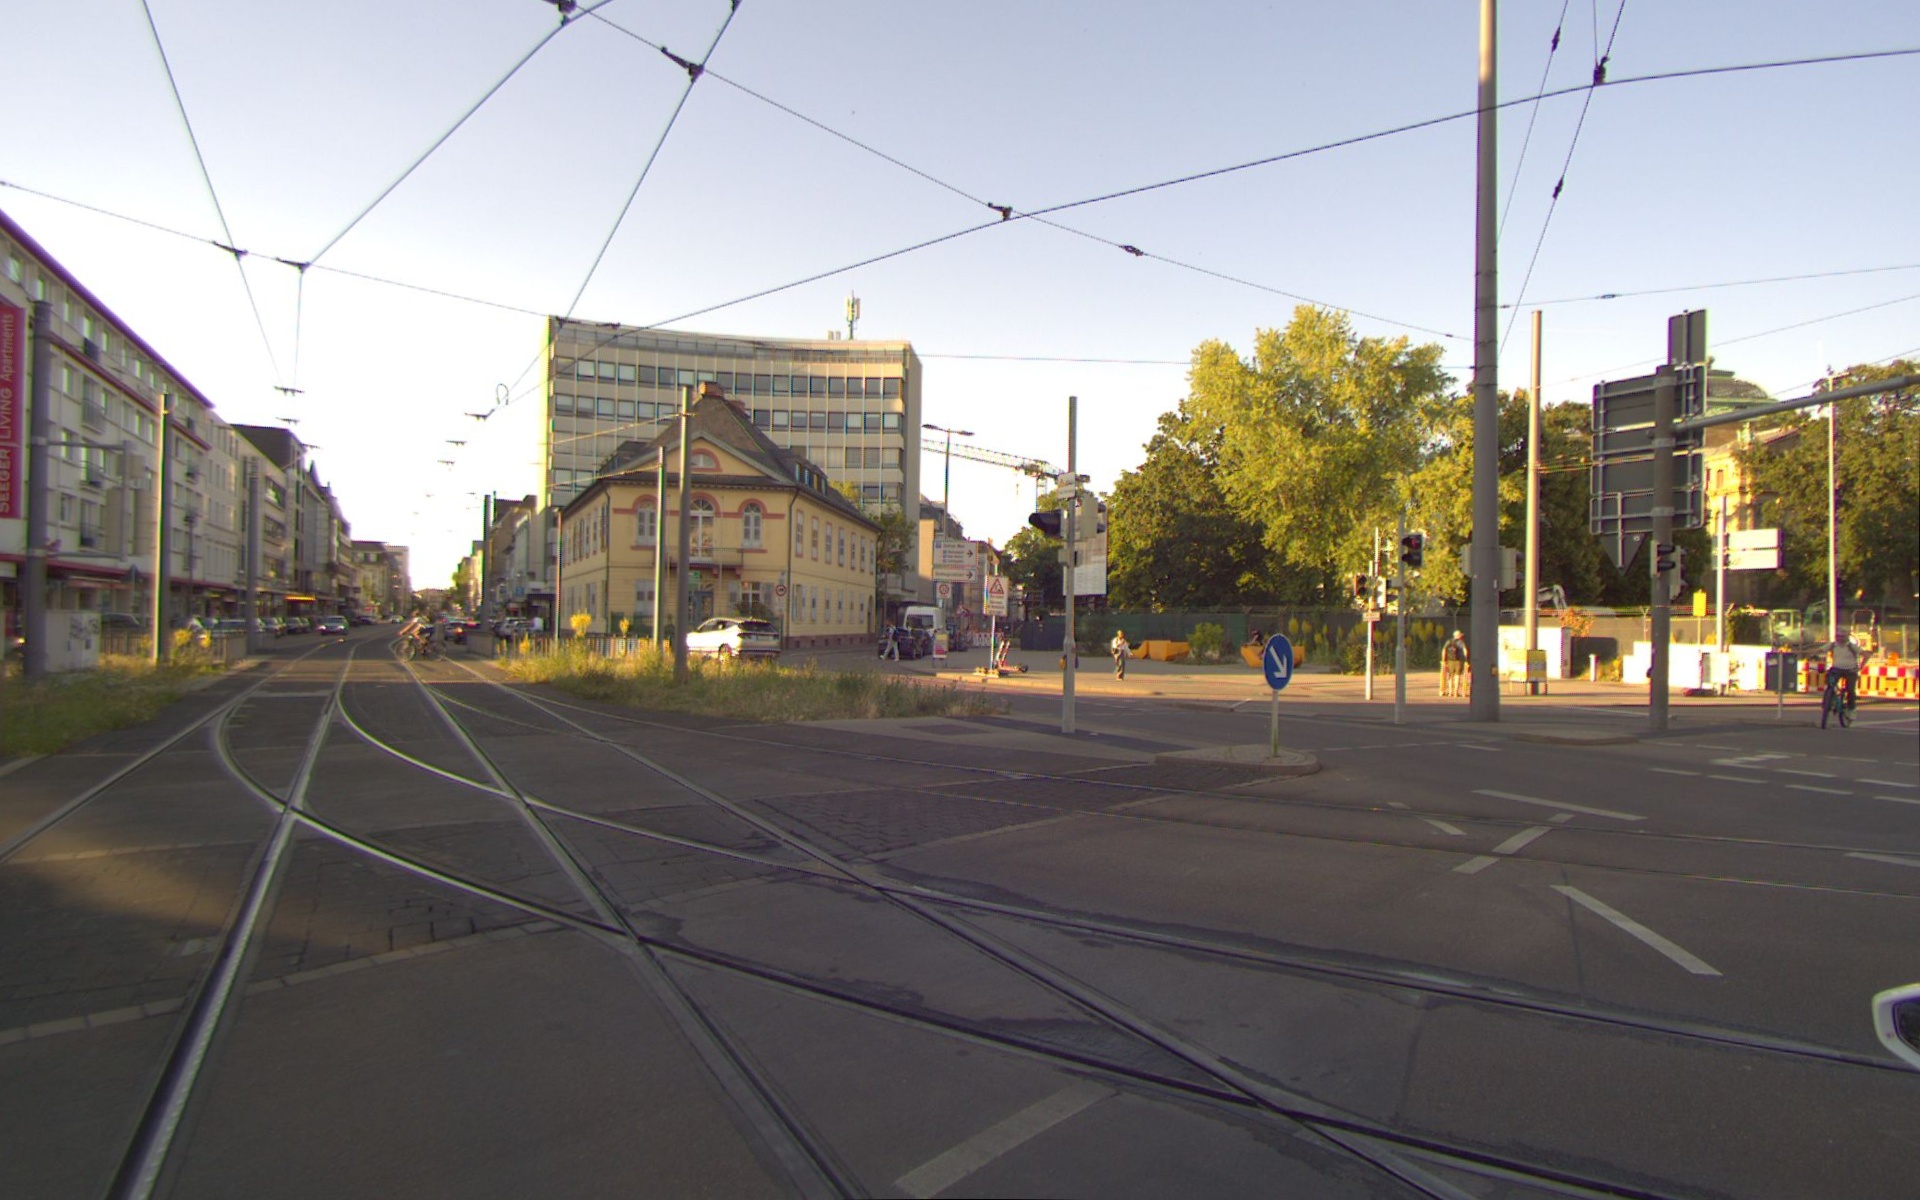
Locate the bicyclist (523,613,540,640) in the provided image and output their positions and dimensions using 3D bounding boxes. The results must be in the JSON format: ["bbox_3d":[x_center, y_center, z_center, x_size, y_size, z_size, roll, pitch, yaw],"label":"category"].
[{"bbox_3d":[-20.387,1.263,47.748,0.719,1.274,0.664,1,-1,-25],"label":"bicyclist"}]

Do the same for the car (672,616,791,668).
[{"bbox_3d":[-7.900,1.391,34.494,1.937,1.683,4.476,1,-1,-45],"label":"car"}]

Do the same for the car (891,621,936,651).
[{"bbox_3d":[-2.376,1.855,52.535,1.699,1.448,4.476,1,-1,6],"label":"car"}]

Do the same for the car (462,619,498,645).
[{"bbox_3d":[-31.112,2.025,65.175,1.973,1.537,4.387,-2,0,-25],"label":"car"}]

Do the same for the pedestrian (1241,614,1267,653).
[{"bbox_3d":[13.116,1.493,44.791,0.811,1.687,0.759,1,-1,-26],"label":"pedestrian"}]

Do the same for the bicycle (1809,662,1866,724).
[{"bbox_3d":[16.391,1.719,18.750,1.833,1.036,0.589,1,-1,-42],"label":"bicycle"}]

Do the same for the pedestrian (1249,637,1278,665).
[{"bbox_3d":[13.173,2.200,43.587,0.977,1.173,0.730,1,-1,-26],"label":"pedestrian"}]

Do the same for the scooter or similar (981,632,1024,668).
[{"bbox_3d":[1.559,1.810,36.679,1.496,1.276,0.612,0,-1,14],"label":"scooter or similar"}]

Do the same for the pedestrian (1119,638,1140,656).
[{"bbox_3d":[8.820,2.431,52.321,0.968,0.905,0.559,-1,-2,43],"label":"pedestrian"}]

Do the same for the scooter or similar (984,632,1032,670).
[{"bbox_3d":[1.711,1.818,35.916,1.619,1.309,0.461,1,-1,14],"label":"scooter or similar"}]

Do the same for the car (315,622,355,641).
[{"bbox_3d":[-53.042,2.633,85.332,2.174,1.580,4.256,1,-1,-23],"label":"car"}]

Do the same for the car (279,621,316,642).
[{"bbox_3d":[-56.451,2.688,85.638,1.973,1.687,3.976,1,-1,-25],"label":"car"}]

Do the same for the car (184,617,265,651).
[{"bbox_3d":[-33.141,1.495,45.380,2.013,1.460,4.633,1,-1,-25],"label":"car"}]

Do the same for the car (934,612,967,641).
[{"bbox_3d":[-0.591,1.806,68.216,1.683,1.873,4.025,1,-1,7],"label":"car"}]

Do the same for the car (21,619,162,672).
[{"bbox_3d":[-28.359,1.454,32.997,1.969,1.595,4.286,1,-1,-18],"label":"car"}]

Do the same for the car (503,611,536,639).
[{"bbox_3d":[-29.608,1.710,67.464,1.717,1.730,3.413,0,-3,-30],"label":"car"}]

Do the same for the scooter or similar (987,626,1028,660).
[{"bbox_3d":[1.680,1.501,35.417,1.376,1.181,0.461,0,-1,15],"label":"scooter or similar"}]

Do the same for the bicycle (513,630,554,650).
[{"bbox_3d":[-20.287,1.894,47.795,1.772,0.904,0.676,1,-1,-24],"label":"bicycle"}]

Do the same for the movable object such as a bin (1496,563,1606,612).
[{"bbox_3d":[26.764,-0.512,45.695,1.961,2.040,5.024,0,-1,-1],"label":"movable object such as a bin"}]

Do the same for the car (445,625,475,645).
[{"bbox_3d":[-37.027,2.575,74.446,1.890,1.429,4.311,1,-1,-25],"label":"car"}]

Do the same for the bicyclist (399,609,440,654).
[{"bbox_3d":[-18.077,1.054,33.591,0.913,1.460,0.835,0,-1,-4],"label":"bicyclist"}]

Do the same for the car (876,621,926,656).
[{"bbox_3d":[-2.766,1.807,47.941,1.748,1.564,4.293,1,-1,5],"label":"car"}]

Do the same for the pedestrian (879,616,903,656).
[{"bbox_3d":[-3.062,1.591,44.856,0.861,1.747,0.830,1,-1,10],"label":"pedestrian"}]

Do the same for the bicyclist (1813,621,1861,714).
[{"bbox_3d":[16.365,1.235,18.738,0.742,1.693,0.589,1,-1,-42],"label":"bicyclist"}]

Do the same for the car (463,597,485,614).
[{"bbox_3d":[-58.145,0.728,120.135,1.978,1.973,3.965,2,-1,-32],"label":"car"}]

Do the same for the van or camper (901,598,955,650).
[{"bbox_3d":[-1.780,1.417,58.592,2.041,2.811,6.454,1,-1,8],"label":"van or camper"}]

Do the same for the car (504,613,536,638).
[{"bbox_3d":[-31.703,1.819,72.372,1.717,1.731,3.776,1,-1,-30],"label":"car"}]

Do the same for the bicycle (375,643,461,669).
[{"bbox_3d":[-18.094,1.871,33.577,2.376,0.858,0.846,0,-1,-4],"label":"bicycle"}]

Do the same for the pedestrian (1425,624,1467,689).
[{"bbox_3d":[13.417,1.538,27.738,0.925,1.758,0.822,0,-1,17],"label":"pedestrian"}]

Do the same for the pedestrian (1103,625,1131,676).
[{"bbox_3d":[5.119,1.644,32.711,0.680,1.635,0.593,1,-1,-24],"label":"pedestrian"}]
